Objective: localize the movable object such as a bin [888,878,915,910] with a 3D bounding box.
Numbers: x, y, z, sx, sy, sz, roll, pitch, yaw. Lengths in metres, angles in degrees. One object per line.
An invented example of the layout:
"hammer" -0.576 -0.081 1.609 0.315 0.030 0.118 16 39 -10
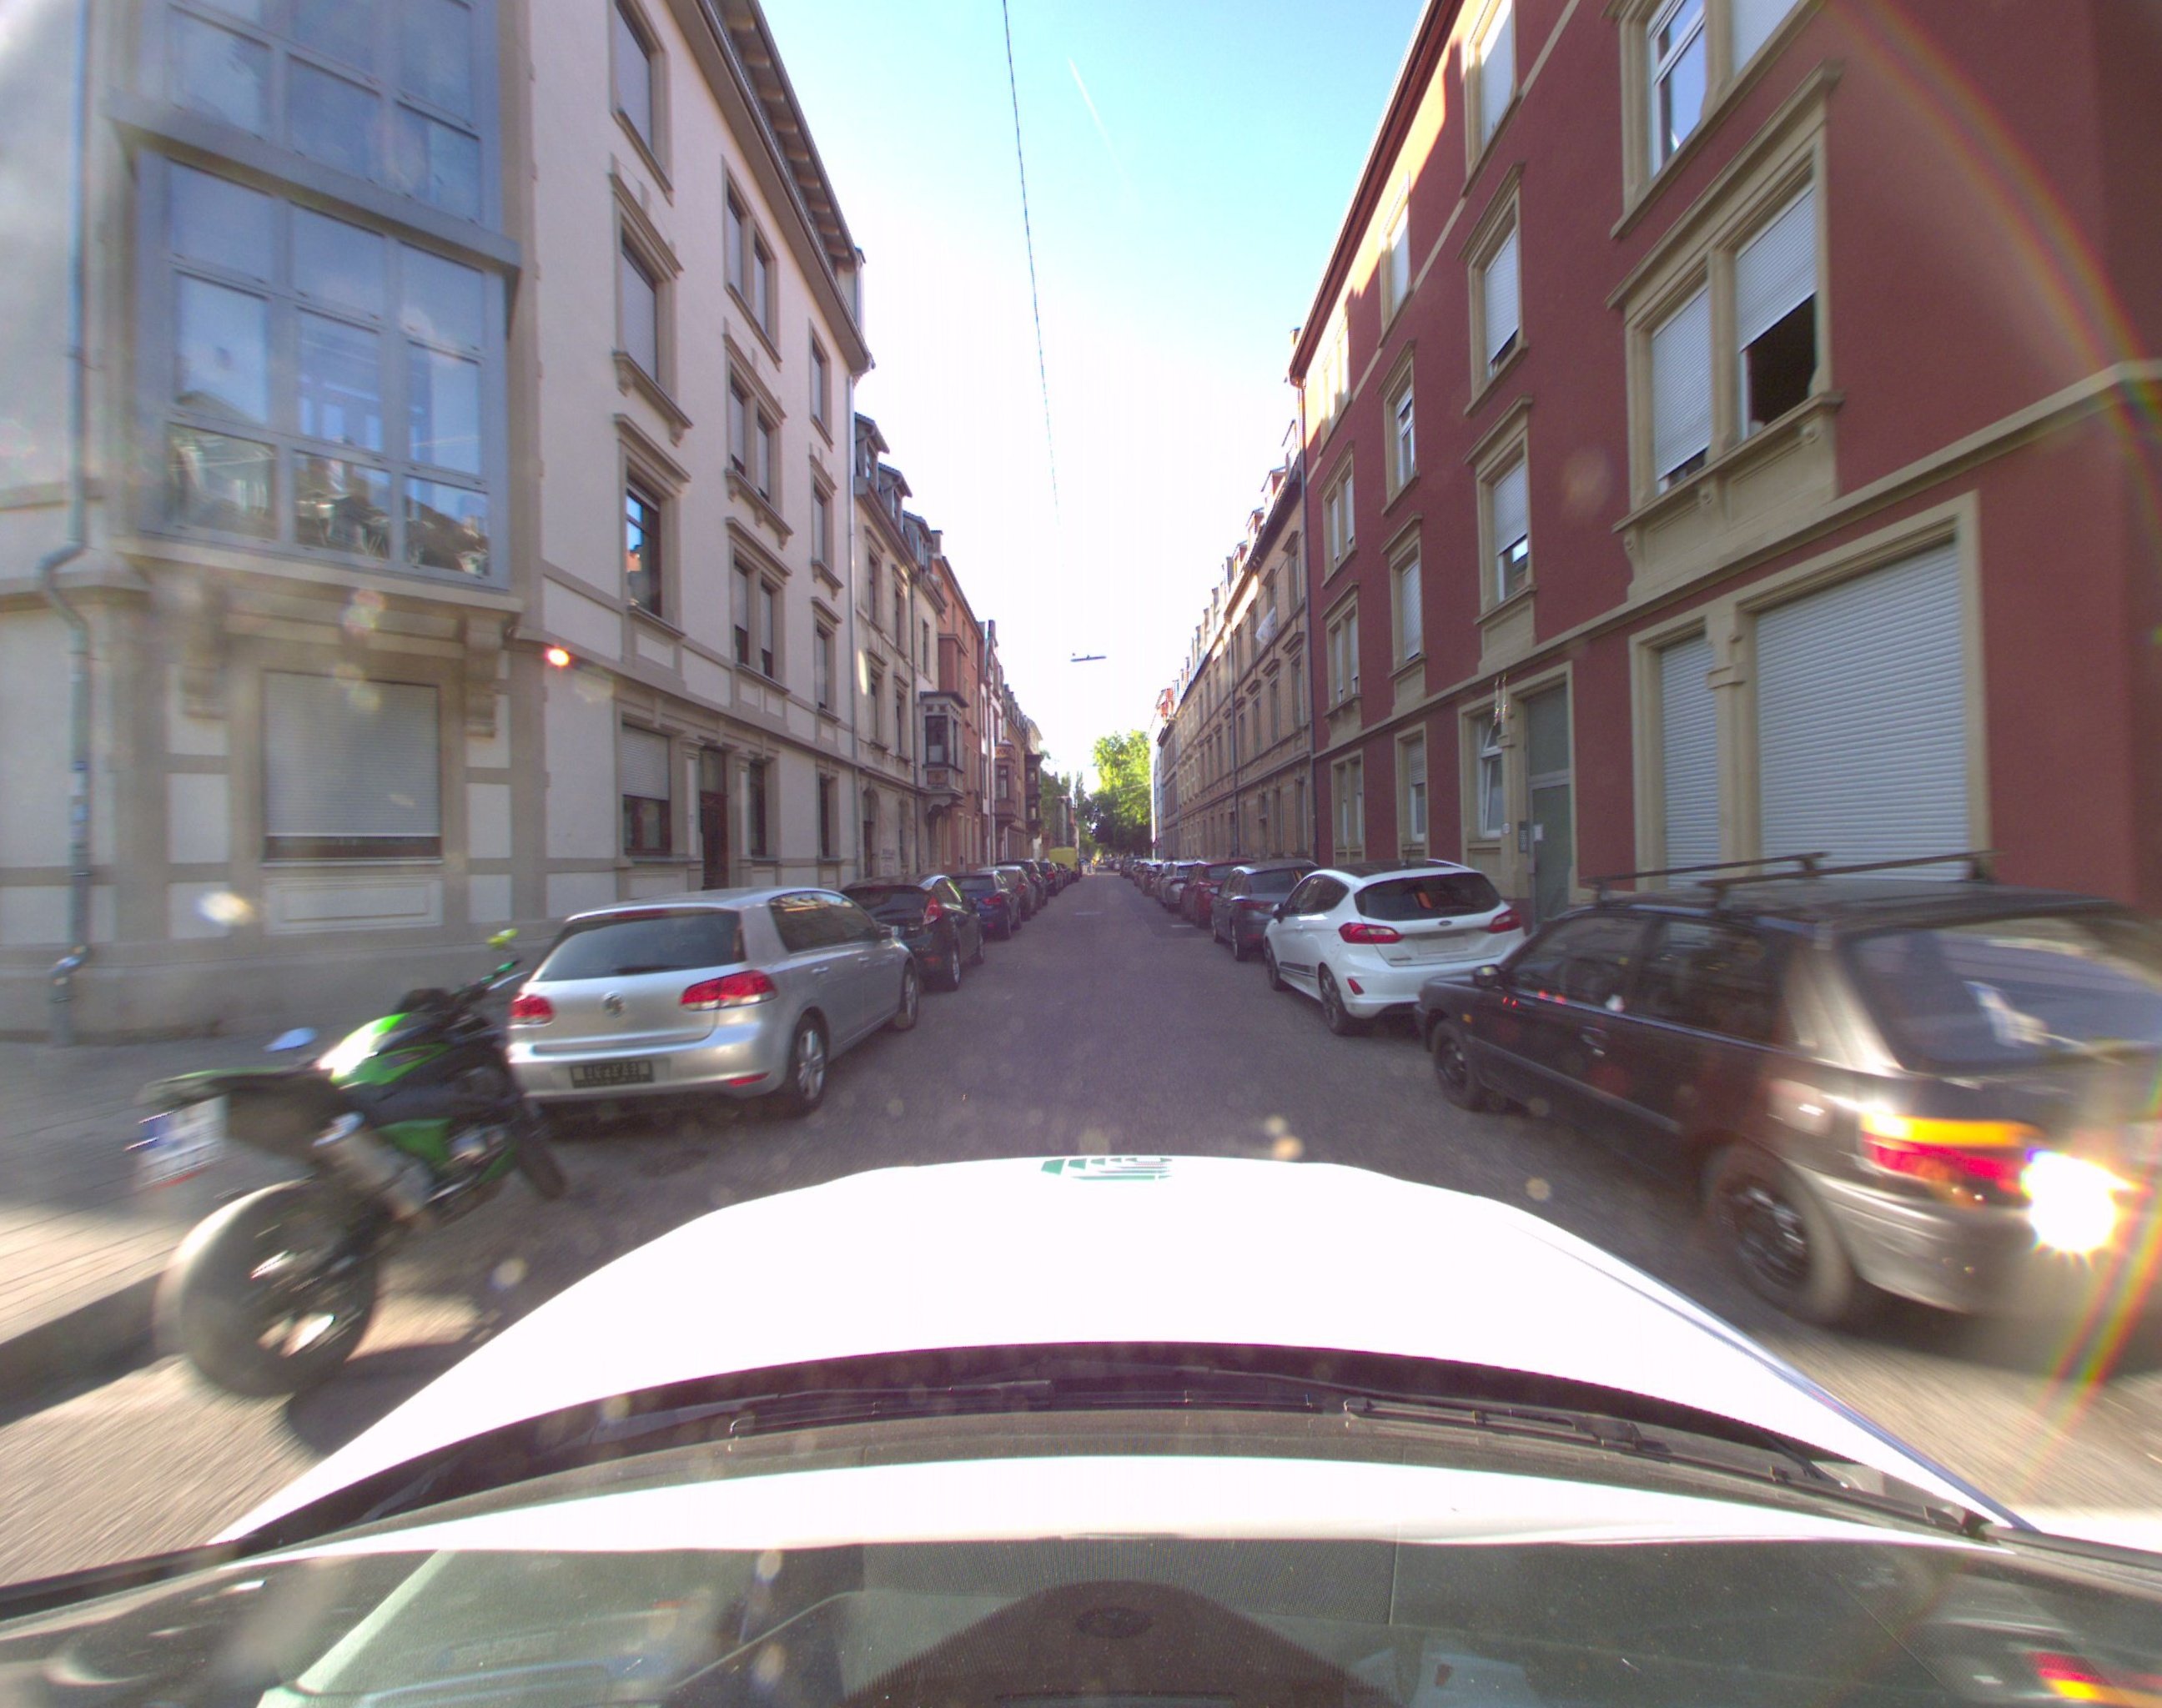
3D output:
"movable object such as a bin" -5.252 1.160 23.842 0.610 0.920 0.734 -1 -1 1

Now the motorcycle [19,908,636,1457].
"motorcycle" -2.616 0.960 3.246 0.675 1.334 1.996 -3 -1 -5

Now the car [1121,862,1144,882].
"car" 4.264 1.476 67.528 1.747 1.453 4.290 -5 -1 3

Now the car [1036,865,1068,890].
"car" -1.669 1.374 48.103 1.612 1.326 3.612 -4 -1 0

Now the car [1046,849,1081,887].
"car" -1.216 1.023 59.591 2.168 2.508 5.878 -3 -1 1

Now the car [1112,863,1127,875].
"car" 5.067 1.965 107.063 1.719 1.523 3.997 -1 -1 -2

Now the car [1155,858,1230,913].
"car" 3.236 0.878 24.417 1.755 1.484 4.403 -1 -1 2

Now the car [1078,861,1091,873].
"car" 0.644 2.433 151.278 2.300 2.114 5.172 -1 -1 2

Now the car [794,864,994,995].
"car" -2.368 0.896 11.278 1.774 1.483 3.744 -1 -1 2

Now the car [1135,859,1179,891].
"car" 3.787 1.025 41.286 1.720 1.417 4.092 -5 -1 -1

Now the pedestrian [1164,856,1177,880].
"pedestrian" 6.269 0.998 57.187 0.648 1.630 0.884 -3 -2 17

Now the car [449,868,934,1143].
"car" -2.530 0.874 6.483 1.773 1.483 3.935 -1 -1 3

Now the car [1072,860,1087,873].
"car" -0.196 1.801 113.457 1.875 1.707 4.001 -2 -1 2

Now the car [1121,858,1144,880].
"car" 4.575 1.330 72.966 1.747 1.786 4.724 -4 0 1

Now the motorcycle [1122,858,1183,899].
"motorcycle" 2.814 0.955 31.964 2.230 1.537 0.883 2 -1 -25

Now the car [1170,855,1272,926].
"car" 3.203 0.790 19.389 1.654 1.479 4.022 -1 -1 -1

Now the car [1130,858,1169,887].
"car" 3.823 1.029 46.033 1.748 1.446 4.067 -4 -1 -1

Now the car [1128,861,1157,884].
"car" 4.600 1.358 61.636 1.748 1.518 4.443 -5 -1 0

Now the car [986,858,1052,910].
"car" -2.036 0.962 27.762 1.754 1.617 4.190 -1 -1 2

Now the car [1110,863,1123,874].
"car" 5.536 2.314 128.342 1.888 1.625 3.999 -1 -1 0

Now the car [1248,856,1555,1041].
"car" 2.980 0.782 8.531 1.699 1.462 3.970 -1 -1 1

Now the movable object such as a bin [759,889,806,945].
"movable object such as a bin" -5.311 1.115 14.510 0.619 0.956 0.511 1 -1 1

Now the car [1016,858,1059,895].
"car" -1.960 1.018 37.653 1.775 1.606 4.068 -1 -1 0

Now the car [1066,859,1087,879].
"car" -0.453 1.333 74.291 1.814 1.766 4.332 -1 -1 -2

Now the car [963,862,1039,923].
"car" -2.128 0.999 22.575 1.637 1.455 3.838 -3 -1 0

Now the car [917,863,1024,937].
"car" -2.262 0.907 17.502 1.775 1.403 3.741 -1 -1 0

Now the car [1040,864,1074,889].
"car" -1.523 1.447 52.911 1.711 1.413 3.902 -6 -1 4

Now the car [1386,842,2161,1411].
"car" 3.025 0.729 4.010 1.663 1.483 3.706 -1 -1 0

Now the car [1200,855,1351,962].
"car" 3.080 0.795 13.700 1.670 1.503 4.070 -1 0 2

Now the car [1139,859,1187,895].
"car" 3.463 0.947 35.107 1.771 1.397 4.319 -1 0 2

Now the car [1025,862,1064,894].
"car" -1.829 1.193 42.094 1.688 1.474 3.920 -4 -1 1

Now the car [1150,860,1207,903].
"car" 3.467 0.944 29.481 1.685 1.406 3.994 -1 -1 2
